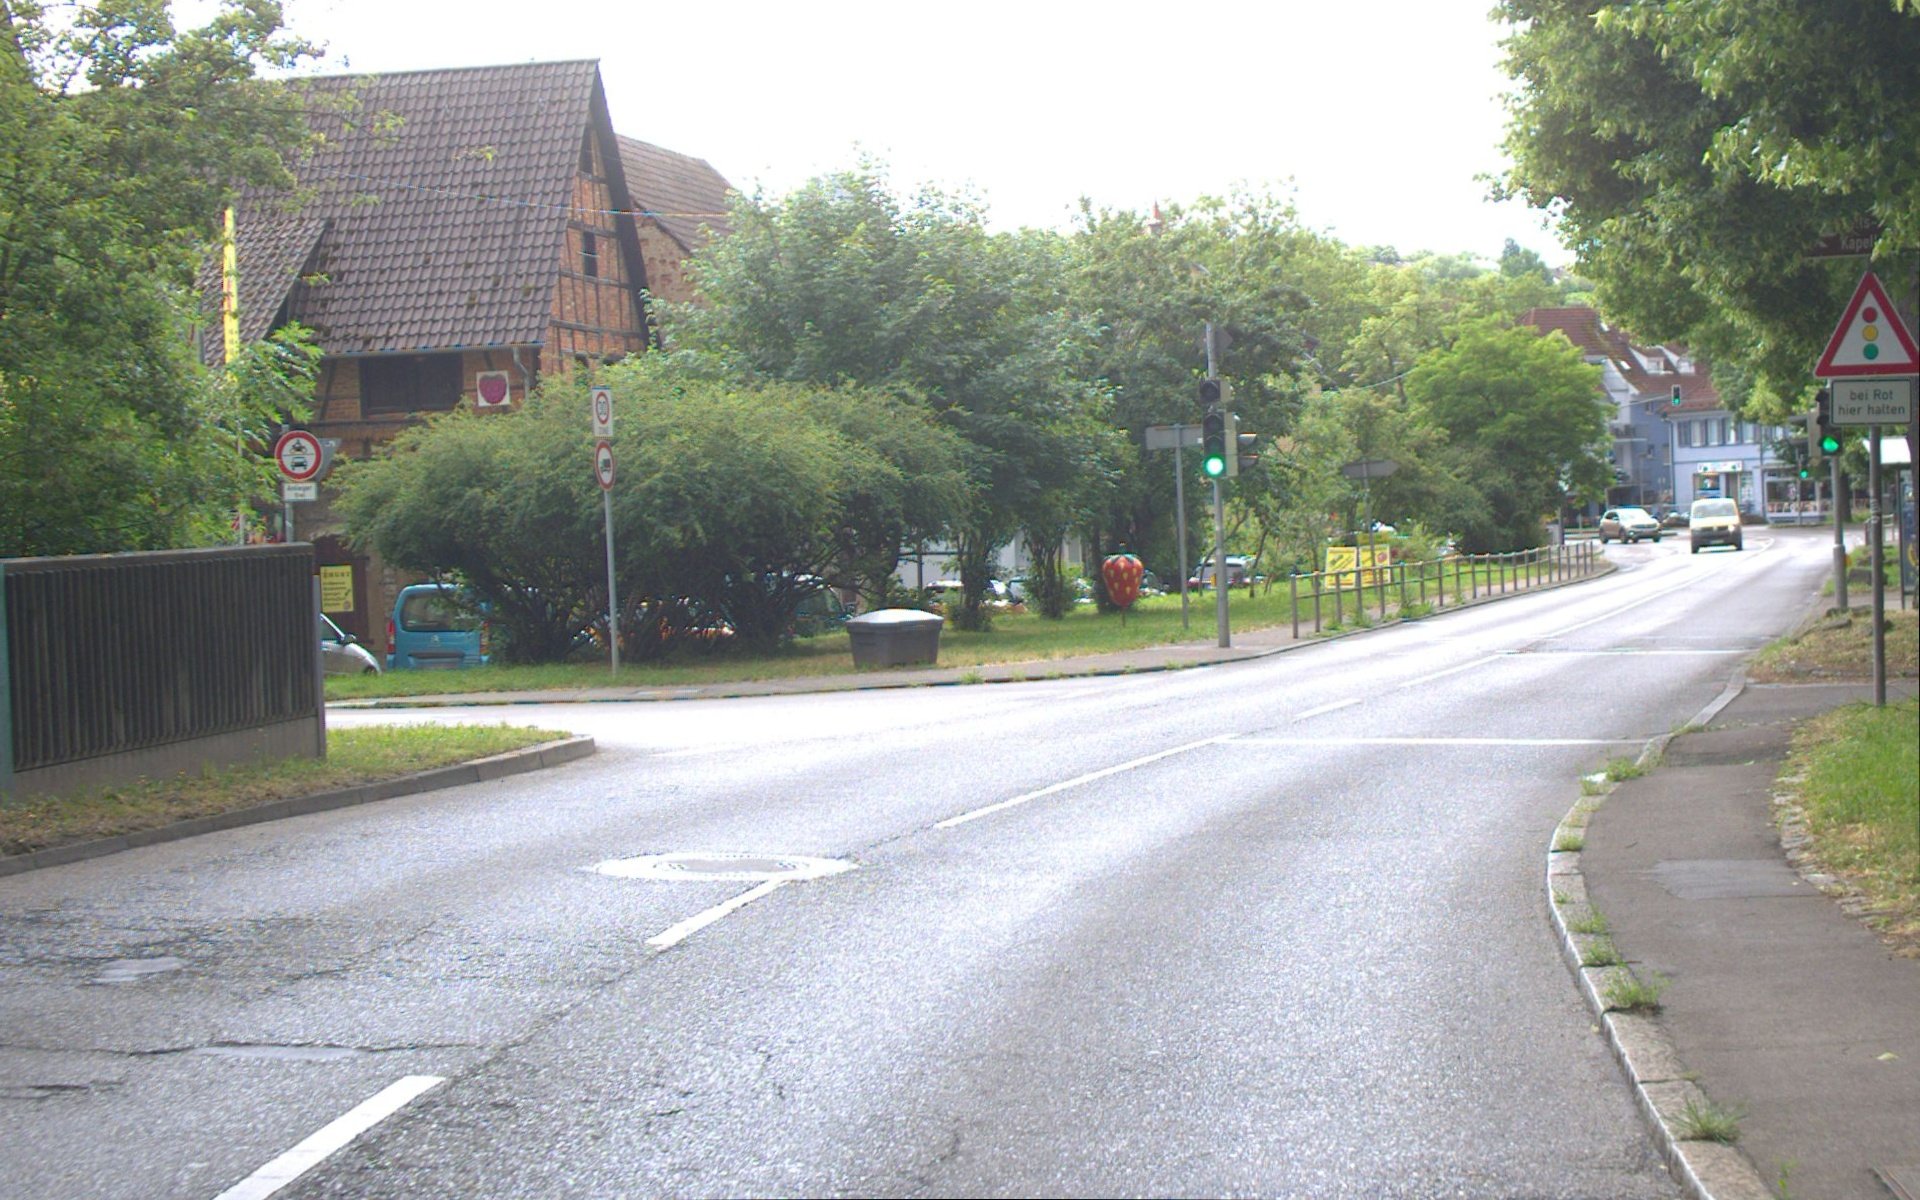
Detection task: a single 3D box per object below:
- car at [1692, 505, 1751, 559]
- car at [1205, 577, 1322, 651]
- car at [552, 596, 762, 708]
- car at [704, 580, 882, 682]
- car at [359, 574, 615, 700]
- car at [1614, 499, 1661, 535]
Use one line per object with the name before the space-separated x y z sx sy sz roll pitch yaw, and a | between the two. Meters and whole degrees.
car | 28.473 -2.551 128.474 1.847 1.924 4.766 -1 1 16
car | 7.993 0.351 90.278 1.923 1.689 3.996 -3 1 22
car | -5.004 0.843 57.325 1.950 1.612 3.997 -3 0 19
car | -2.984 0.539 62.279 1.813 1.612 3.997 -3 0 19
car | -7.043 0.520 51.632 1.995 1.612 4.444 -3 0 18
car | 31.031 -3.800 157.412 1.706 1.506 3.997 -4 1 16
